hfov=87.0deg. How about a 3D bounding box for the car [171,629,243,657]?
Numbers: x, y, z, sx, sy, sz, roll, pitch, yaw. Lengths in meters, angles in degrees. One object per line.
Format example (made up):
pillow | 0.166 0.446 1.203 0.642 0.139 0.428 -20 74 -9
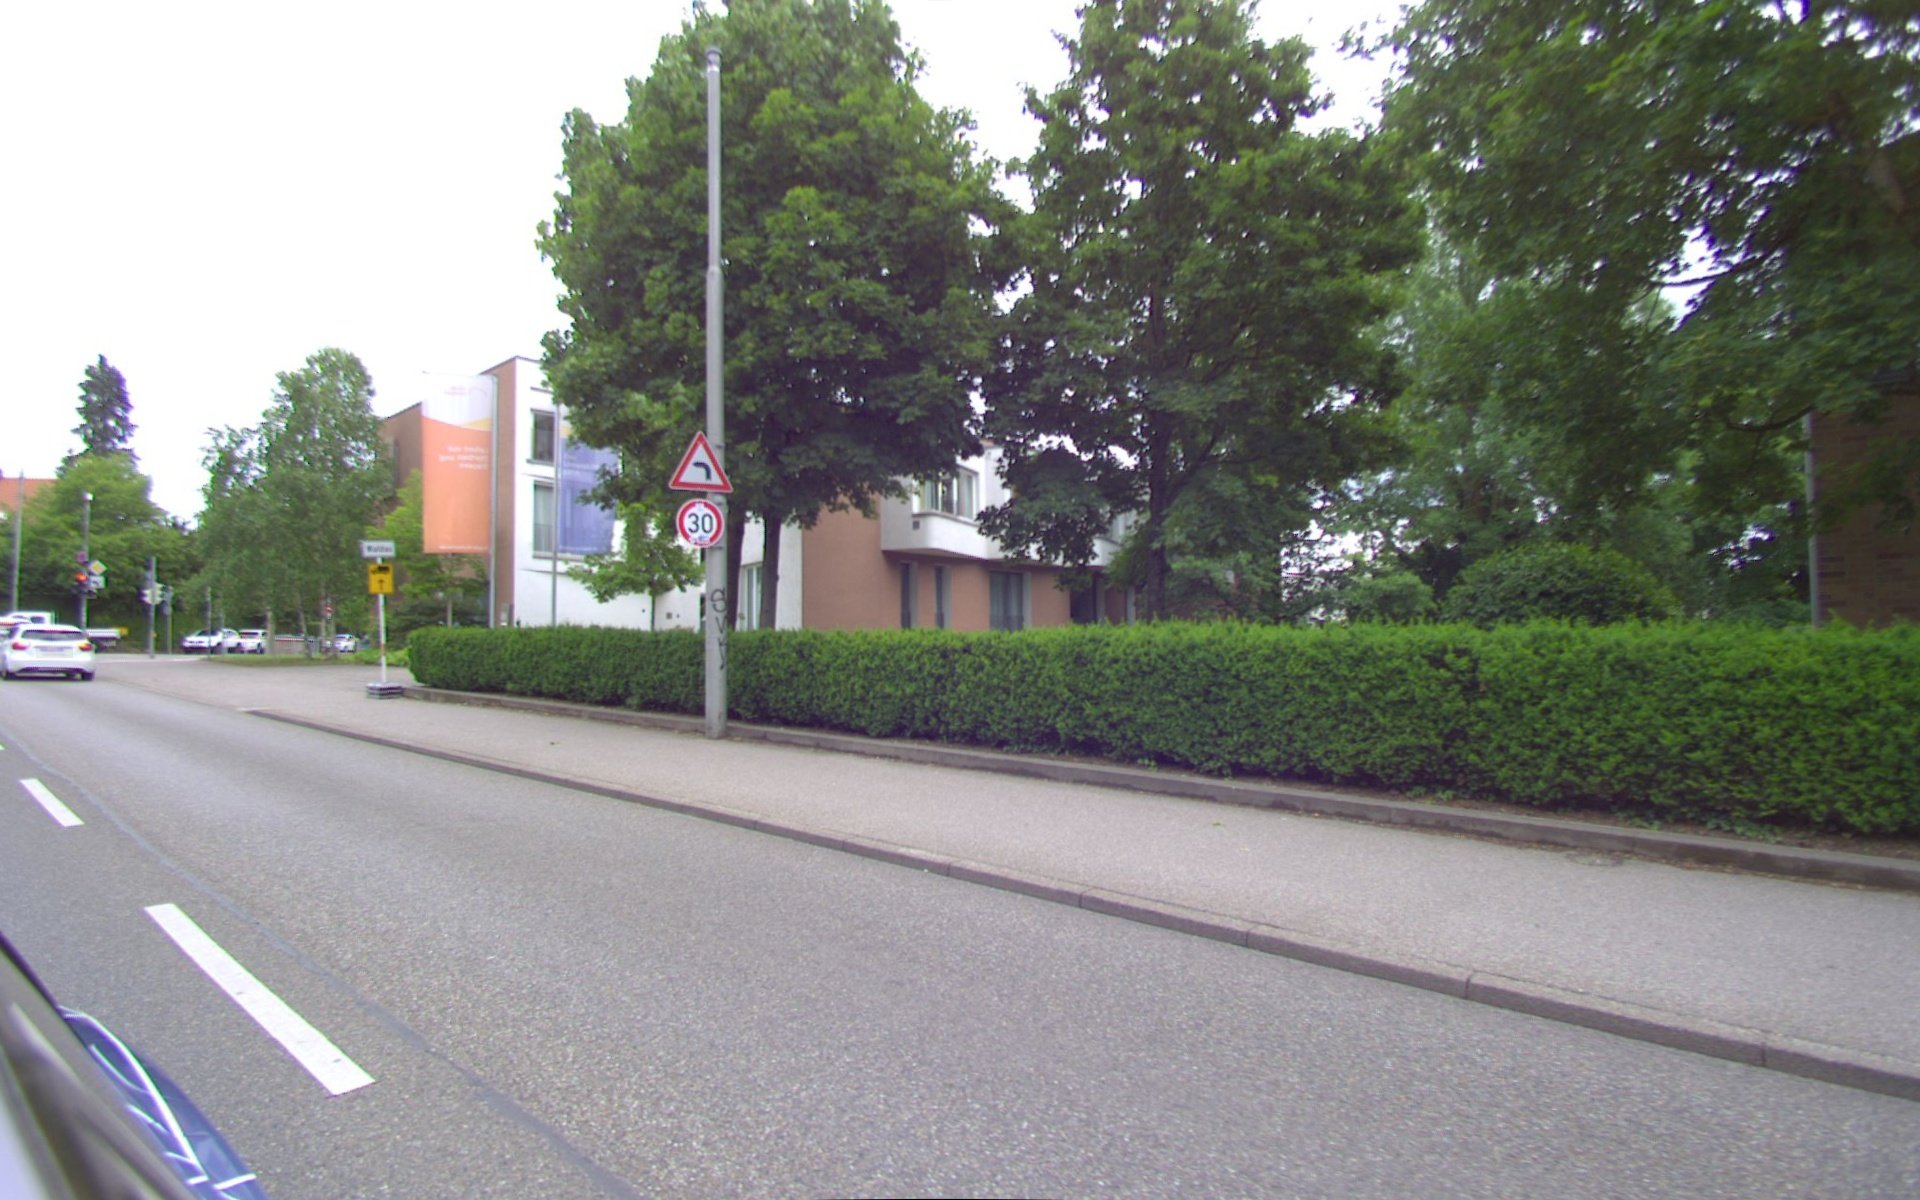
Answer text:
car | -46.653 2.695 62.792 1.968 1.625 4.008 2 -3 -10

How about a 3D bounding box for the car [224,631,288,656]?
car | -47.495 2.950 68.348 1.968 1.625 4.008 2 -3 -10

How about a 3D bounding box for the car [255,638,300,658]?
car | -49.776 3.483 73.843 1.840 1.464 3.742 1 -2 -20

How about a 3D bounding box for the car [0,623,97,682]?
car | -24.156 1.353 26.511 4.064 1.432 1.747 -1 -4 42

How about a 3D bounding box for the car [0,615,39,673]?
car | -29.392 1.291 30.610 4.300 1.650 1.750 -1 -5 42

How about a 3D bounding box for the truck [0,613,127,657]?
truck | -49.973 1.915 55.319 6.609 2.205 2.535 4 -3 -37

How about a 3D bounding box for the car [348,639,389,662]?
car | -39.504 3.348 67.659 1.848 1.460 4.013 2 -3 -23

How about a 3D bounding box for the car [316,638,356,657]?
car | -54.300 4.142 88.151 1.841 1.599 3.740 1 -3 -14
